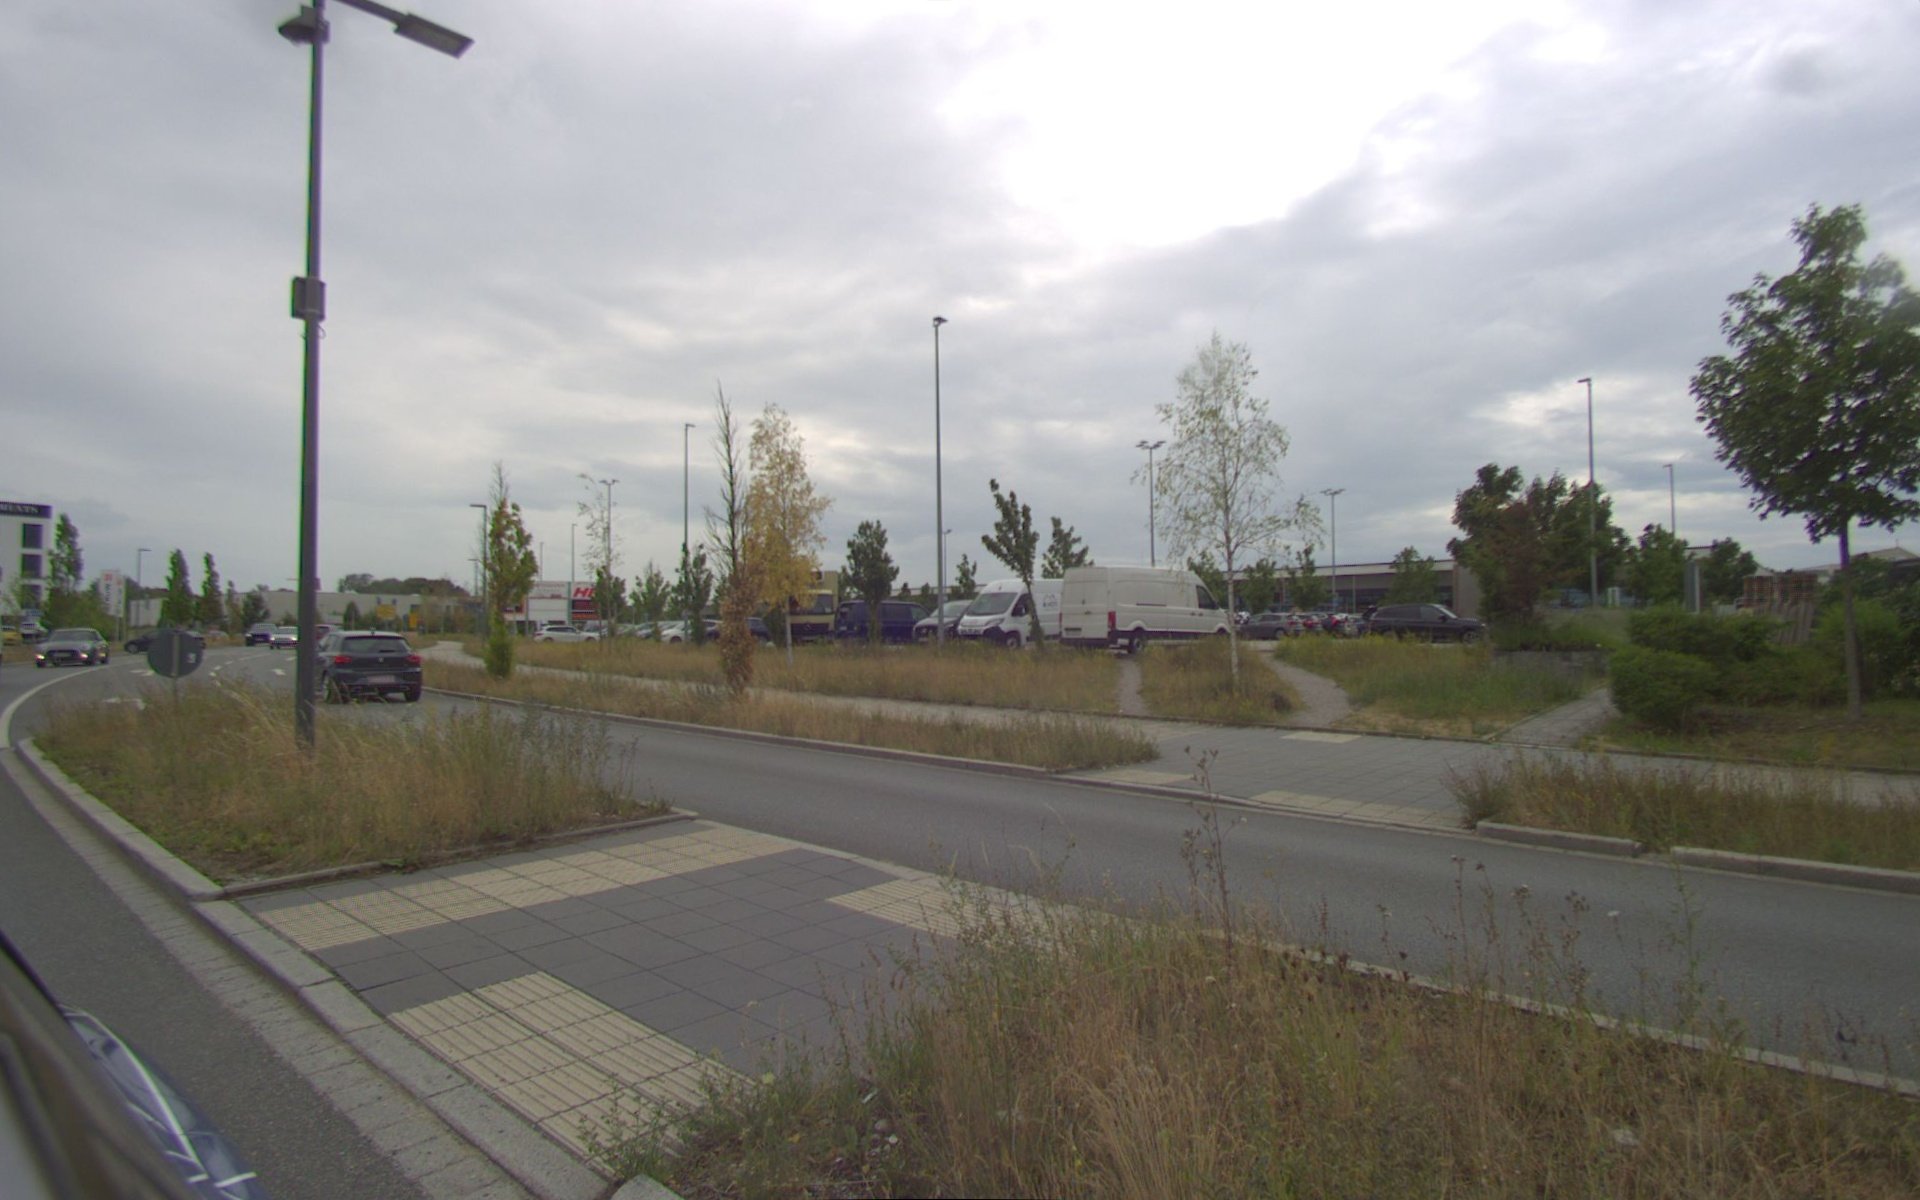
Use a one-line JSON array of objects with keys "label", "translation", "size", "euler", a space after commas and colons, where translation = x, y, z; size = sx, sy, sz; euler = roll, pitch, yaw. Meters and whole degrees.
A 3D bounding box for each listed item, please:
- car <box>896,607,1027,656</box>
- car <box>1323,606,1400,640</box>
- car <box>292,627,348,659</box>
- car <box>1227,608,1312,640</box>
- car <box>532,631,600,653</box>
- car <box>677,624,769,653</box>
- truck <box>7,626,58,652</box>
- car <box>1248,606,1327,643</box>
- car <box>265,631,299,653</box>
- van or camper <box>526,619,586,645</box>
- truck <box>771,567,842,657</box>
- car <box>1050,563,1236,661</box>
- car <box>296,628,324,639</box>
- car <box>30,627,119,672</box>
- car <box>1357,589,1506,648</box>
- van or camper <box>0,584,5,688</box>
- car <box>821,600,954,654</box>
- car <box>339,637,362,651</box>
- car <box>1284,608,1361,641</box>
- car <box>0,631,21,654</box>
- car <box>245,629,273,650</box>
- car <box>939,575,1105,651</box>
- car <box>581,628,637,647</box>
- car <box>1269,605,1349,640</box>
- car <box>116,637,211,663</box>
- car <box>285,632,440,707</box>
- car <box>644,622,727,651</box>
[{"label": "car", "translation": [0.139, 1.127, 36.228], "size": [1.994, 1.629, 4.849], "euler": [-2, -2, 42]}, {"label": "car", "translation": [24.833, 1.458, 62.674], "size": [1.966, 2.029, 4.011], "euler": [1, -2, -33]}, {"label": "car", "translation": [-35.392, 2.396, 56.080], "size": [1.773, 1.682, 4.340], "euler": [3, -4, -21]}, {"label": "car", "translation": [16.883, 1.347, 55.328], "size": [3.996, 1.684, 1.974], "euler": [-2, -2, 39]}, {"label": "car", "translation": [-26.437, 2.798, 67.883], "size": [4.120, 1.480, 1.892], "euler": [1, -2, -26]}, {"label": "car", "translation": [-12.106, 1.974, 51.758], "size": [4.174, 1.446, 2.003], "euler": [1, -3, -32]}, {"label": "truck", "translation": [-85.070, 3.595, 92.915], "size": [2.196, 2.343, 8.235], "euler": [1, -3, -34]}, {"label": "car", "translation": [18.601, 1.414, 57.551], "size": [1.723, 2.029, 4.009], "euler": [1, -2, -36]}, {"label": "car", "translation": [-45.031, 2.799, 67.169], "size": [1.680, 1.449, 4.041], "euler": [1, -3, -37]}, {"label": "van or camper", "translation": [-44.629, 3.512, 111.890], "size": [5.774, 2.821, 2.249], "euler": [1, -2, -36]}, {"label": "truck", "translation": [-6.791, 0.602, 44.759], "size": [2.813, 3.568, 8.444], "euler": [-1, -2, -9]}, {"label": "car", "translation": [5.593, 0.394, 30.207], "size": [2.245, 2.618, 6.334], "euler": [-2, -2, 45]}, {"label": "car", "translation": [-113.853, 5.865, 177.278], "size": [1.633, 2.029, 3.966], "euler": [-2, -2, 25]}, {"label": "car", "translation": [-33.934, 1.872, 38.884], "size": [1.727, 1.597, 4.012], "euler": [0, -2, -29]}, {"label": "car", "translation": [17.456, 0.736, 37.592], "size": [4.638, 2.048, 1.972], "euler": [-2, -3, 42]}, {"label": "van or camper", "translation": [-24.015, 0.827, 23.431], "size": [2.229, 2.637, 5.707], "euler": [2, -3, -39]}, {"label": "car", "translation": [-2.807, 1.061, 39.704], "size": [4.838, 2.005, 2.183], "euler": [1, -2, -38]}, {"label": "car", "translation": [-76.394, 5.470, 126.920], "size": [1.965, 1.649, 4.717], "euler": [3, -3, -27]}, {"label": "car", "translation": [22.016, 1.512, 61.554], "size": [1.968, 1.912, 4.007], "euler": [1, -2, -39]}, {"label": "car", "translation": [-75.075, 3.338, 79.353], "size": [1.740, 1.699, 4.420], "euler": [2, -3, -38]}, {"label": "car", "translation": [-55.376, 3.128, 80.004], "size": [1.728, 1.597, 4.011], "euler": [0, -2, -33]}, {"label": "car", "translation": [2.205, 0.479, 33.929], "size": [2.211, 2.324, 6.001], "euler": [-2, -2, 44]}, {"label": "car", "translation": [-30.494, 3.242, 87.933], "size": [4.240, 1.667, 2.087], "euler": [1, -3, -28]}, {"label": "car", "translation": [20.493, 1.335, 59.473], "size": [1.968, 2.029, 4.007], "euler": [1, -2, -39]}, {"label": "car", "translation": [-45.776, 2.867, 58.207], "size": [4.192, 1.431, 1.832], "euler": [-1, -2, 6]}, {"label": "car", "translation": [-12.516, 1.407, 21.104], "size": [1.820, 1.418, 4.002], "euler": [4, -5, -45]}, {"label": "car", "translation": [-15.823, 2.116, 58.404], "size": [4.190, 1.571, 1.994], "euler": [1, -3, -36]}]
